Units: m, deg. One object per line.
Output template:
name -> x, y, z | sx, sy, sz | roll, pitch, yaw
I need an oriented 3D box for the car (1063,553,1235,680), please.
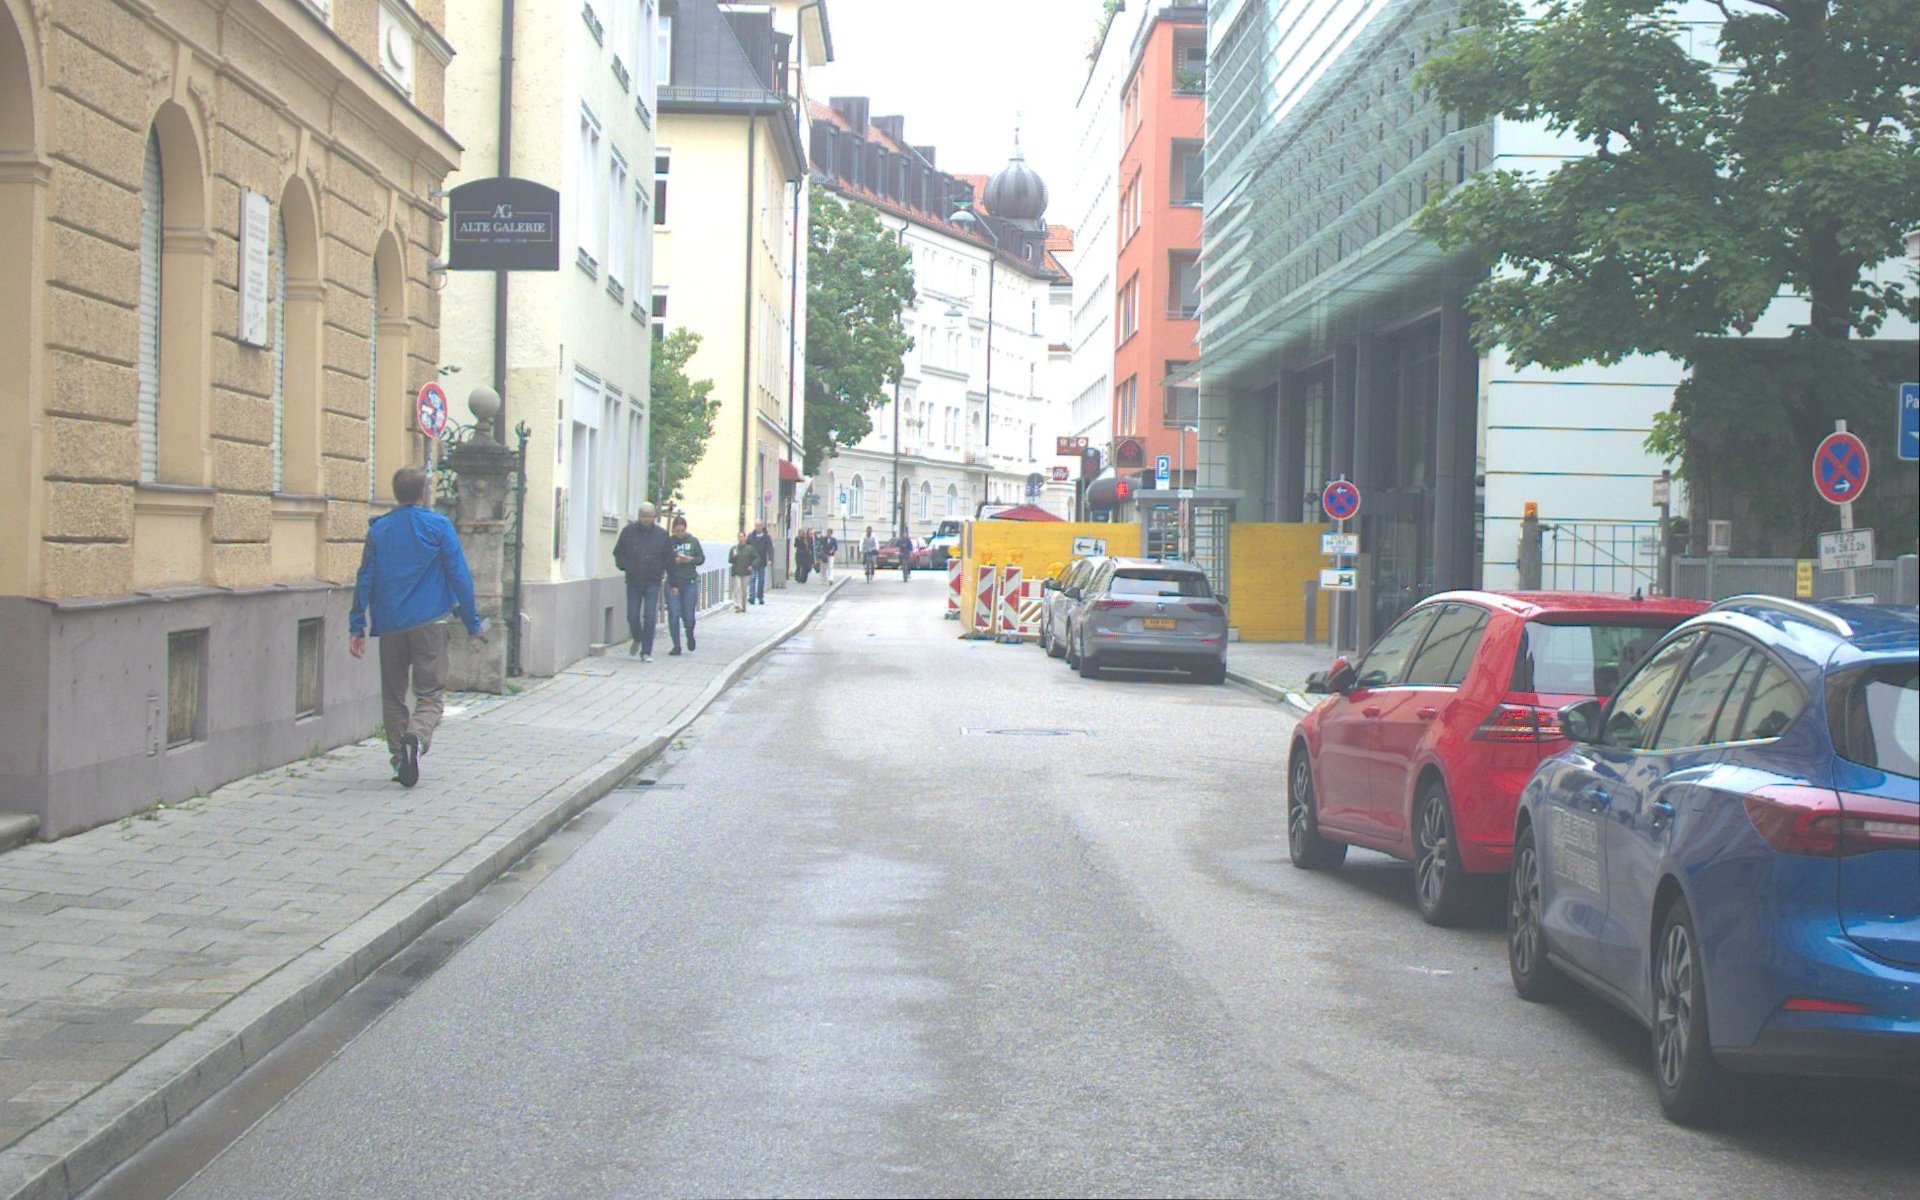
car -> 2.269, 0.162, 42.190 | 1.708, 1.427, 4.330 | 2, 1, -2

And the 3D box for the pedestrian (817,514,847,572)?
pedestrian -> -3.827, -1.706, 102.726 | 0.839, 1.695, 0.803 | 2, 1, -1

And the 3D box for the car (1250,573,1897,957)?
car -> 2.694, 0.663, 16.163 | 1.760, 1.442, 4.300 | 3, 1, -7

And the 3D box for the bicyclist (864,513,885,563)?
bicyclist -> -2.795, -2.029, 112.810 | 0.659, 1.637, 0.895 | 1, 1, -1

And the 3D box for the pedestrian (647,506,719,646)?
pedestrian -> -3.429, -0.301, 42.626 | 0.712, 1.660, 0.930 | 4, 1, -1

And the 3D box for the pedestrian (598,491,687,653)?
pedestrian -> -3.651, -0.327, 39.605 | 0.905, 1.821, 0.956 | 2, 1, -2

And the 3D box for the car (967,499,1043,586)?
car -> 1.338, -1.767, 104.747 | 1.993, 2.528, 4.975 | 2, 1, -2

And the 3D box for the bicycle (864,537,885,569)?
bicycle -> -2.796, -1.549, 112.907 | 0.661, 1.035, 2.005 | 1, 1, -1

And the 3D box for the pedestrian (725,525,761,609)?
pedestrian -> -4.414, -0.671, 69.908 | 0.647, 1.670, 0.724 | 2, 1, -2

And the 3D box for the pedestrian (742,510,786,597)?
pedestrian -> -4.330, -1.022, 76.127 | 0.867, 1.875, 1.135 | 2, 1, -2

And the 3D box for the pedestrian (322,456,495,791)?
pedestrian -> -3.173, 0.122, 19.867 | 0.757, 1.848, 1.077 | 3, 1, -1

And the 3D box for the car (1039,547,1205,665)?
car -> 2.189, 0.051, 47.484 | 1.707, 1.462, 4.238 | 3, 1, -4

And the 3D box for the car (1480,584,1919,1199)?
car -> 2.843, 0.734, 10.554 | 1.794, 1.433, 4.383 | 3, 1, 0

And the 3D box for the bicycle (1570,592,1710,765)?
bicycle -> 5.365, 0.597, 27.218 | 0.707, 1.194, 1.834 | 1, 4, 0

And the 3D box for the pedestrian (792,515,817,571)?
pedestrian -> -4.655, -1.702, 102.929 | 0.670, 1.642, 0.761 | 2, 1, -2
